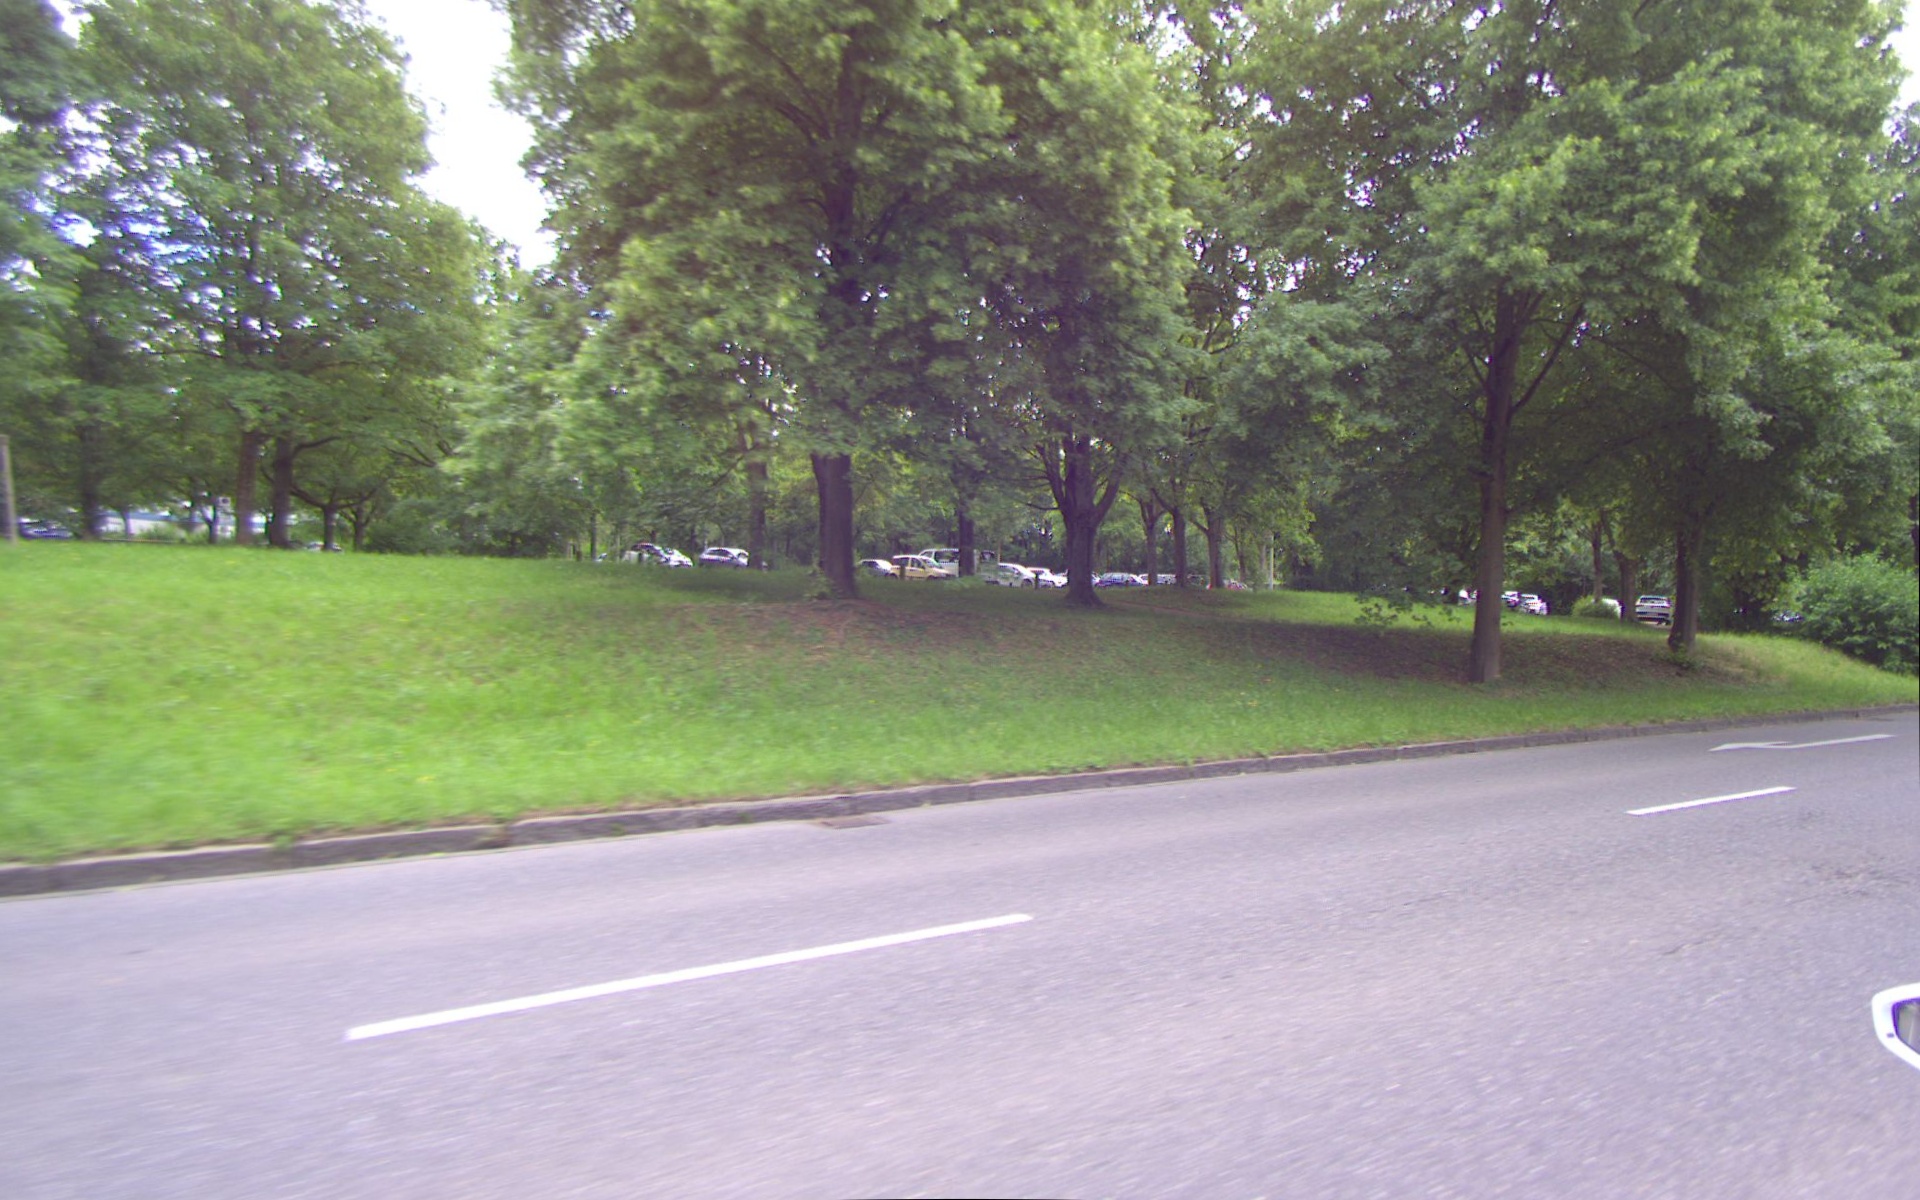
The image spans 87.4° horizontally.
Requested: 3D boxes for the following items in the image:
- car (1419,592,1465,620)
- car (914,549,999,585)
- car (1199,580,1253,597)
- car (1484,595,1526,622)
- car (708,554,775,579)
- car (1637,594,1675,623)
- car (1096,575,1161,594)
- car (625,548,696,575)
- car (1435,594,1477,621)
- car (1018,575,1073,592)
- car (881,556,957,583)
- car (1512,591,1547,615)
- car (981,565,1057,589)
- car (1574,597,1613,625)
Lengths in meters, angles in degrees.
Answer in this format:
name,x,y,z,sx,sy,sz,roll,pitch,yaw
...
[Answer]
name,x,y,z,sx,sy,sz,roll,pitch,yaw
car,26.901,0.351,55.963,1.624,1.506,3.986,2,0,36
car,-0.190,-1.669,50.620,4.048,1.706,1.748,2,0,37
car,21.806,-0.948,82.352,3.919,1.226,1.897,2,0,35
car,31.835,0.506,58.617,1.624,1.506,3.986,2,0,36
car,-11.533,-1.767,53.007,3.448,1.250,1.396,2,0,32
car,38.443,0.459,55.476,1.624,1.506,3.986,2,0,36
car,11.378,-1.051,67.971,3.919,1.226,1.897,2,0,35
car,-14.713,-1.886,49.281,3.448,1.250,1.396,2,0,32
car,30.084,0.455,60.825,1.624,1.506,3.986,2,0,36
car,6.872,-1.320,80.771,3.919,1.226,1.897,2,0,35
car,-1.985,-1.487,48.424,3.448,1.226,1.396,2,0,32
car,38.707,0.237,68.227,1.624,1.506,3.986,2,0,36
car,3.318,-1.313,56.704,3.919,1.226,1.897,2,0,35
car,36.161,0.636,57.315,1.624,1.506,3.986,2,0,36
